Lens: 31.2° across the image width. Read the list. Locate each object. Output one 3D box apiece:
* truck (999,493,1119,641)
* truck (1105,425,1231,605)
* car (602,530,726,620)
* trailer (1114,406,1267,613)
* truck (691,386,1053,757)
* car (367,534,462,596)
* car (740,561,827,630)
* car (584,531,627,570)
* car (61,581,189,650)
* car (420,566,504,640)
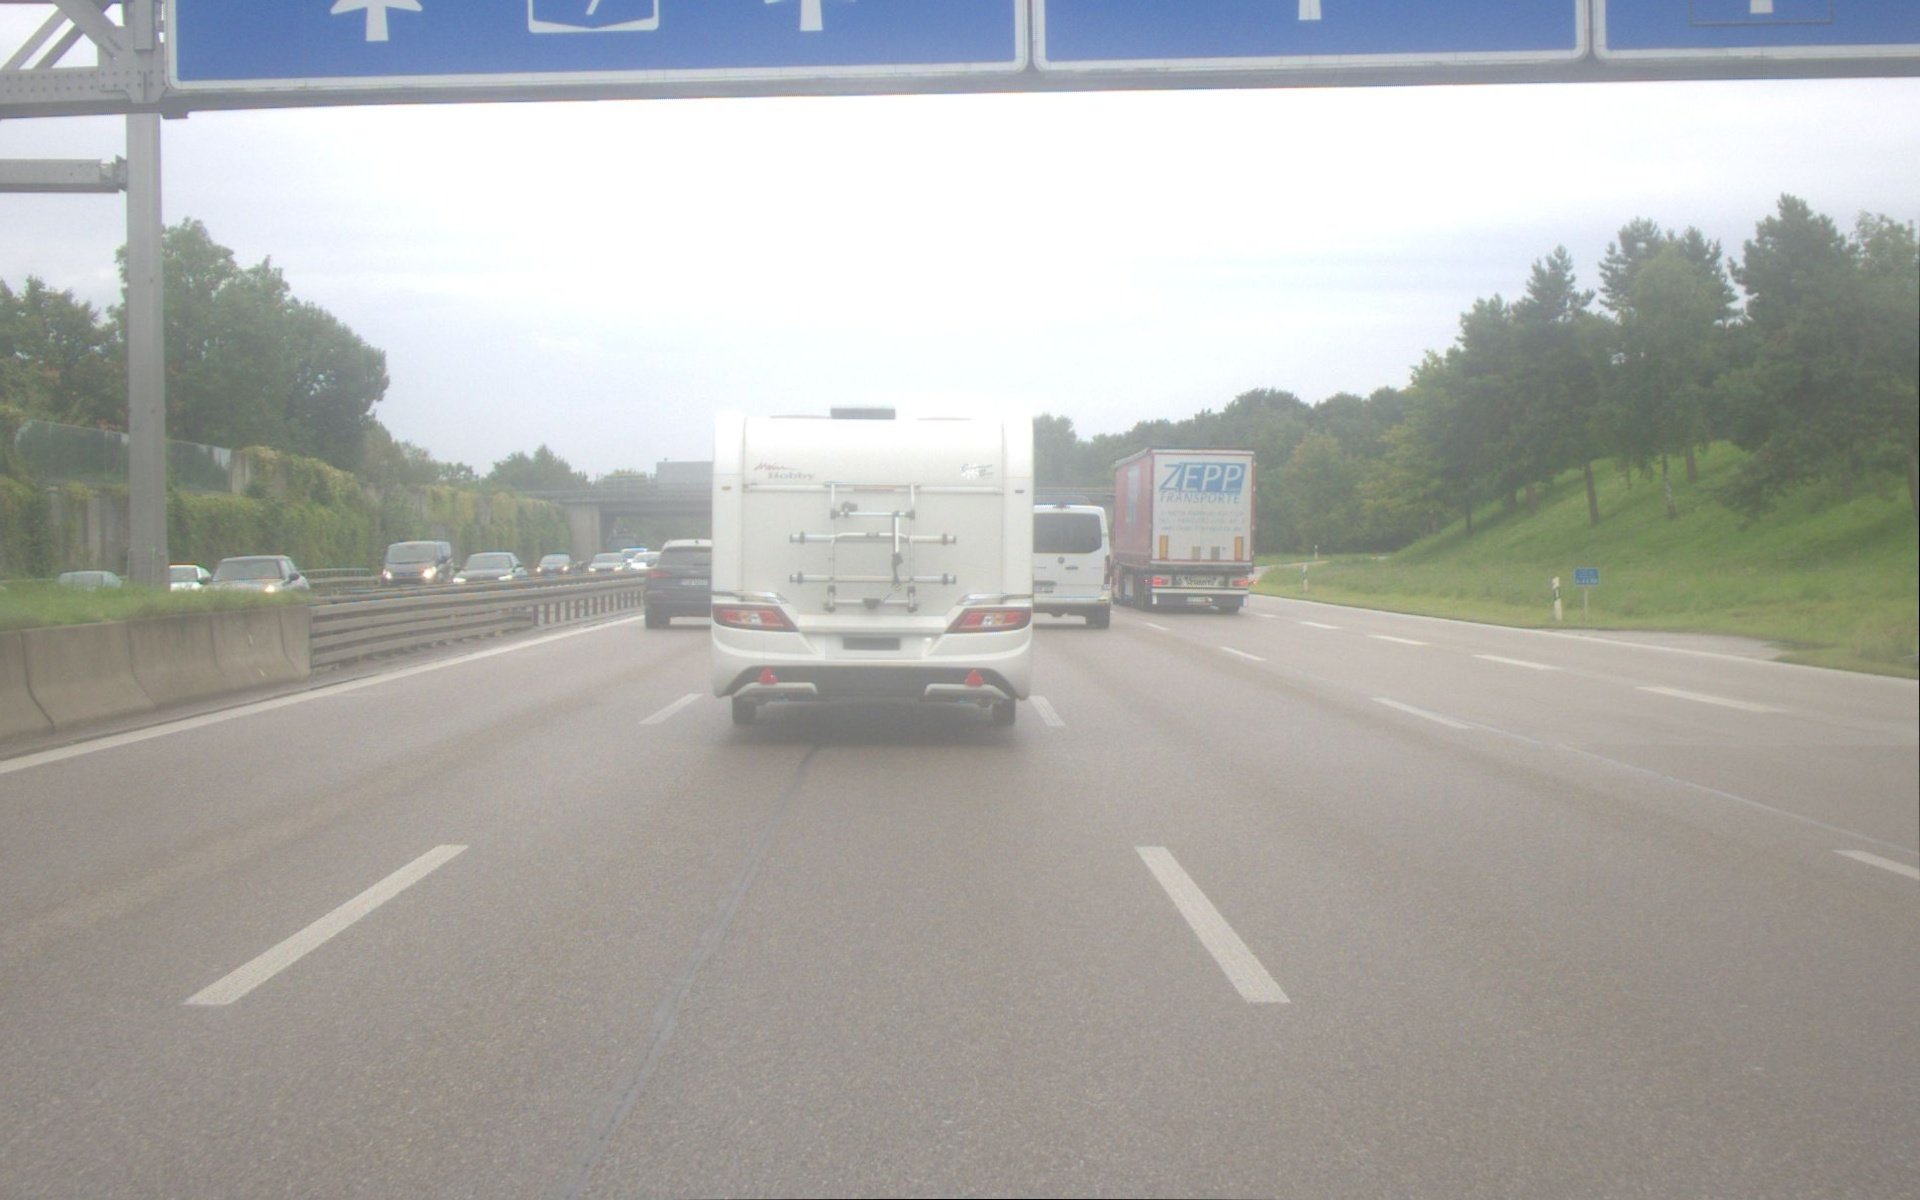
[{"bbox_3d":[1.907,-0.654,68.050,2.053,2.760,5.549,1,1,-1],"label":"truck"},{"bbox_3d":[5.757,-2.333,96.028,3.048,4.823,5.850,1,1,-1],"label":"truck"},{"bbox_3d":[-5.558,-0.484,65.033,1.993,1.594,5.124,1,1,-1],"label":"car"},{"bbox_3d":[5.783,-2.233,88.191,3.100,4.905,11.790,1,1,0],"label":"trailer"},{"bbox_3d":[-0.711,-0.238,28.240,2.661,2.733,5.078,1,1,-1],"label":"truck"},{"bbox_3d":[-18.153,-1.177,114.629,2.209,1.965,6.271,1,1,-1],"label":"car"},{"bbox_3d":[-4.702,-0.121,92.240,2.128,1.700,4.113,3,0,-1],"label":"car"},{"bbox_3d":[-18.482,-2.611,179.288,1.932,2.007,4.733,0,1,-2],"label":"car"},{"bbox_3d":[-17.594,0.305,72.611,1.705,1.361,4.236,1,1,-1],"label":"car"},{"bbox_3d":[-14.143,0.063,97.757,1.854,2.007,3.852,1,1,-1],"label":"car"}]
